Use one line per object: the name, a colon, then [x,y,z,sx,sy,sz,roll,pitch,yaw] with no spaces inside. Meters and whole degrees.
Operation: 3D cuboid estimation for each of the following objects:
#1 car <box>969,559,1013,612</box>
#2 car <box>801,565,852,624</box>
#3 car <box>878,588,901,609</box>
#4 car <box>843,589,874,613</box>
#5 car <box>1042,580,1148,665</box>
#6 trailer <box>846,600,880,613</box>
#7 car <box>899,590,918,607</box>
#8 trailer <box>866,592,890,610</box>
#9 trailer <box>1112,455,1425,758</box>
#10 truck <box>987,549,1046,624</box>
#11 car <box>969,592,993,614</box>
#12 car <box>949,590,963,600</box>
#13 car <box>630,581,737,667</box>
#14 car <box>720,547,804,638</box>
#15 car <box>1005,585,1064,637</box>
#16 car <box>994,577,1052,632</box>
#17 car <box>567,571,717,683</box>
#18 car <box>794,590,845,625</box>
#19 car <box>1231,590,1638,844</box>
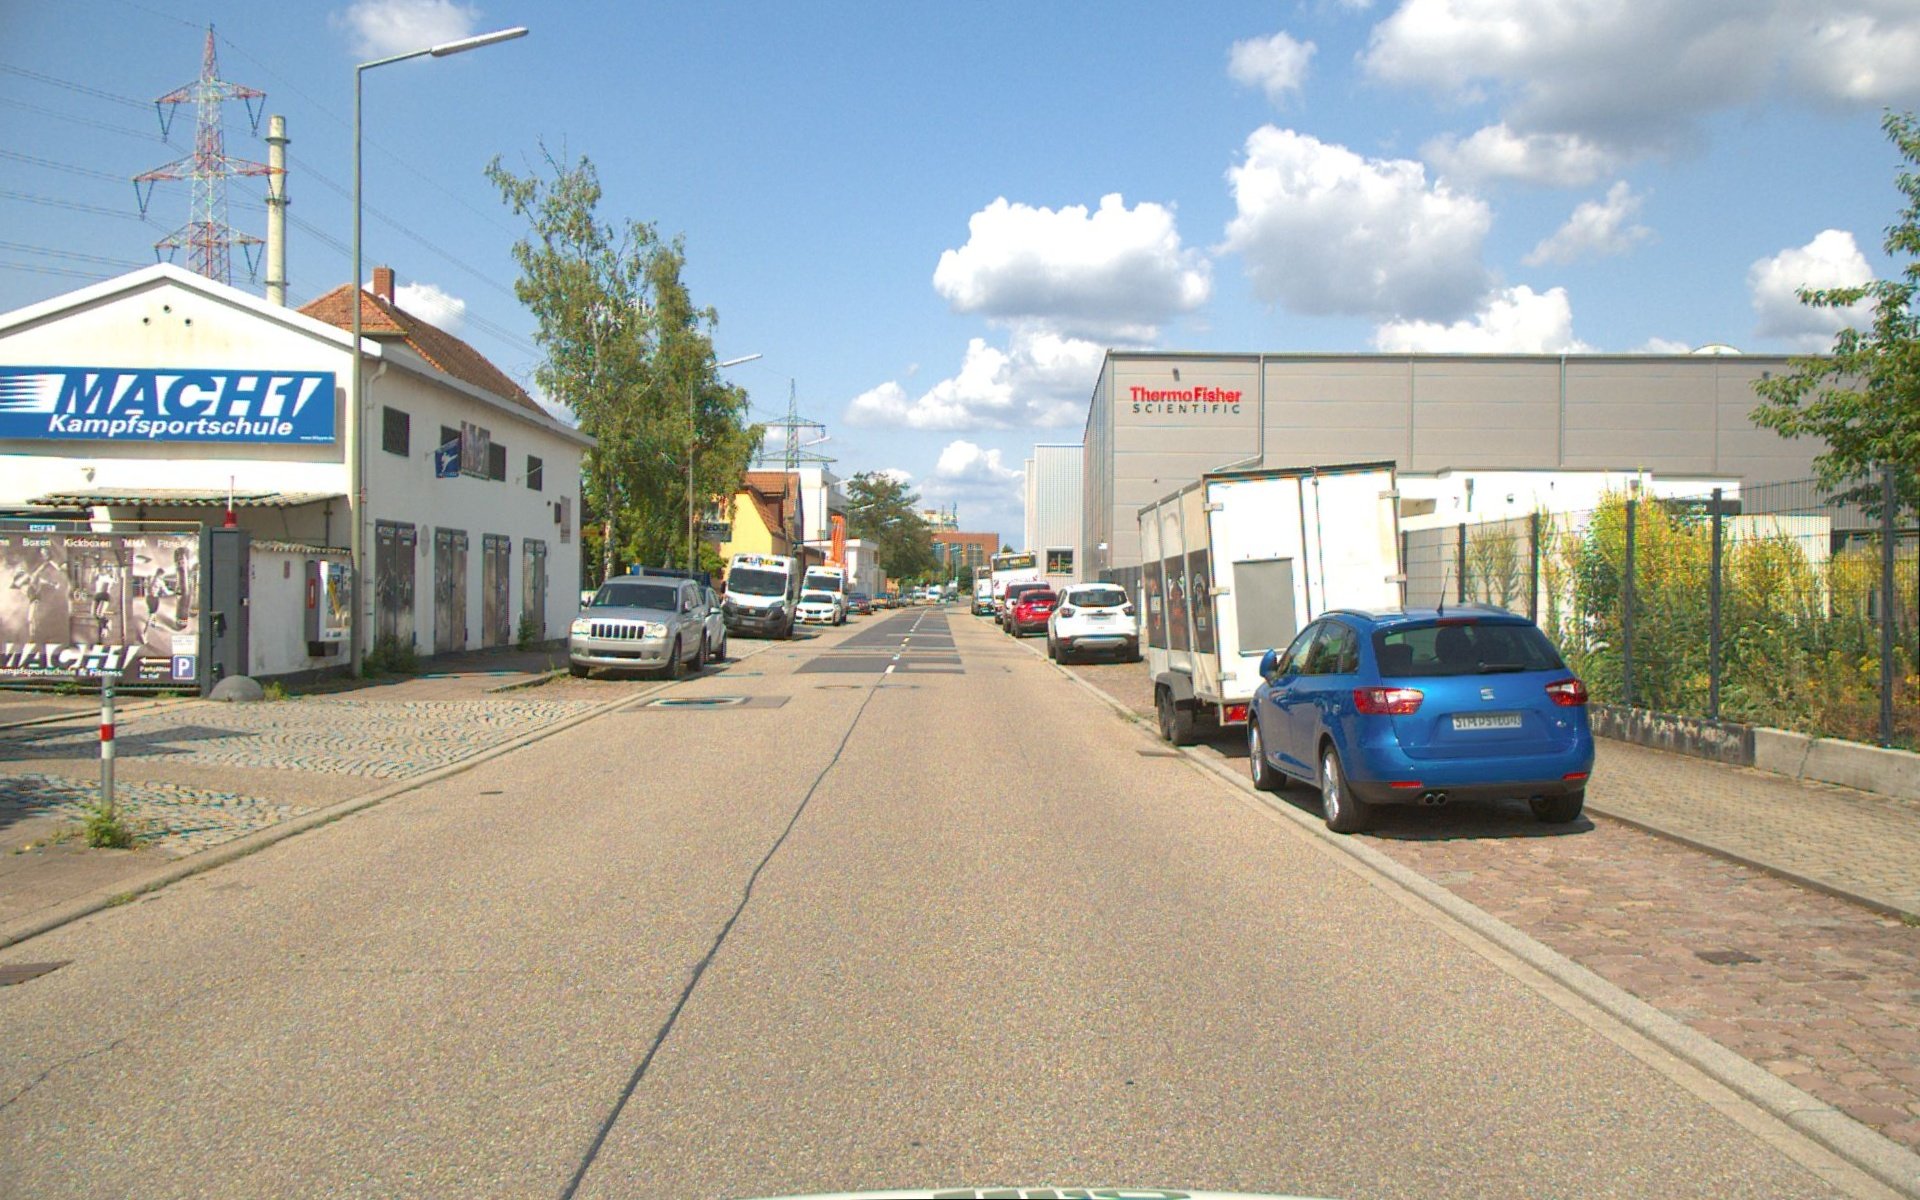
car: [2.089,-0.921,112.421,2.341,3.421,6.640,-2,0,-4]
car: [-6.358,-0.233,79.464,1.986,2.606,6.837,2,0,-2]
car: [-7.052,-0.150,166.398,1.952,2.049,4.001,2,0,2]
car: [-6.803,0.067,110.951,1.726,1.473,4.740,2,0,0]
car: [2.961,0.466,37.212,1.896,1.723,4.679,-2,0,-1]
trailer: [-7.575,0.499,129.799,2.314,0.908,5.568,3,0,-1]
car: [-5.877,-0.186,189.889,1.882,1.825,4.001,2,0,2]
trailer: [-7.477,0.061,150.725,1.953,1.584,4.253,1,0,-1]
trailer: [3.213,0.071,18.789,2.160,2.785,6.220,-2,0,-1]
truck: [2.714,-0.617,81.309,2.409,3.350,6.817,-4,0,0]
car: [1.584,0.247,124.908,1.732,1.640,3.873,0,0,0]
car: [-0.577,-0.724,239.229,1.878,1.307,3.615,0,0,2]
car: [-5.746,0.477,34.699,1.576,1.601,3.009,4,0,1]
car: [-6.192,-0.216,52.448,1.989,2.602,6.654,3,0,-2]
car: [2.538,0.366,56.907,1.669,1.652,4.091,-2,0,-2]
car: [2.379,0.170,63.792,2.012,1.936,5.147,-3,0,0]
car: [-5.615,0.448,29.737,1.754,1.749,4.750,3,0,-1]
car: [-6.103,0.327,72.198,1.759,1.422,4.501,2,0,0]
car: [3.223,0.721,12.094,1.656,1.486,4.069,-2,0,-2]
